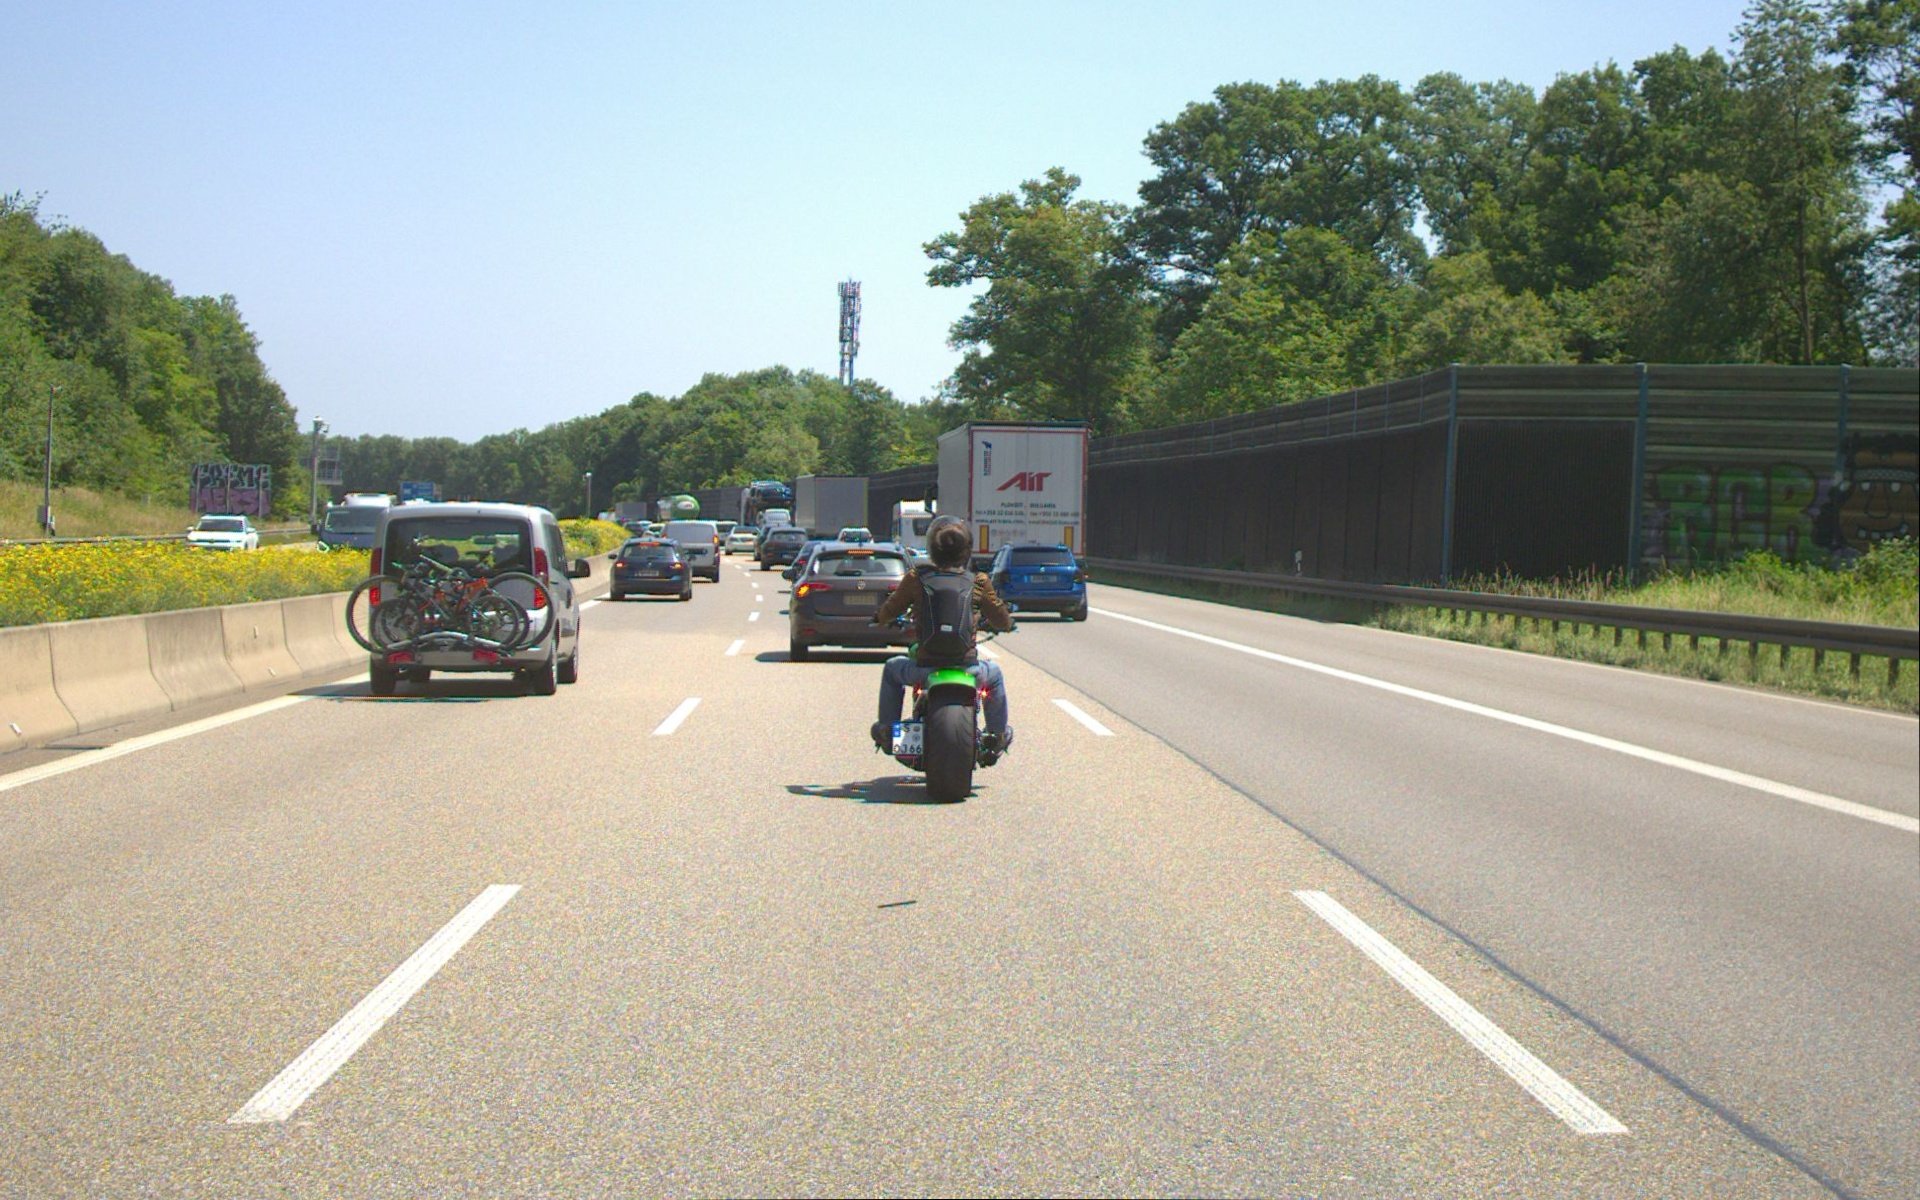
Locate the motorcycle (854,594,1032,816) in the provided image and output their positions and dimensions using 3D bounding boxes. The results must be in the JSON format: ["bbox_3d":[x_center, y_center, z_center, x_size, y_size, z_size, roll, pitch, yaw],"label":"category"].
[{"bbox_3d":[-0.069,0.580,20.447,0.964,1.144,2.812,1,1,1],"label":"motorcycle"}]

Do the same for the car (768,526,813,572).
[{"bbox_3d":[-7.543,-2.265,152.887,1.911,2.007,3.691,0,0,-4],"label":"car"}]

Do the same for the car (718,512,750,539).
[{"bbox_3d":[-12.935,-4.248,196.825,1.832,1.491,3.744,0,0,-4],"label":"car"}]

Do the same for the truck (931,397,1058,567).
[{"bbox_3d":[0.823,-2.962,87.158,2.885,4.132,5.987,0,1,-2],"label":"truck"}]

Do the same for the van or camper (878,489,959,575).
[{"bbox_3d":[-1.374,-2.279,117.333,2.685,2.803,6.803,0,0,0],"label":"van or camper"}]

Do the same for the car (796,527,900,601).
[{"bbox_3d":[-2.275,-0.713,68.887,1.993,1.425,3.848,0,0,-3],"label":"car"}]

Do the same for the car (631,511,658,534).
[{"bbox_3d":[-22.071,-5.415,240.259,1.832,1.491,3.744,0,0,-5],"label":"car"}]

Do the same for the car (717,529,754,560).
[{"bbox_3d":[-11.272,-2.798,172.840,1.832,1.491,3.744,0,0,-4],"label":"car"}]

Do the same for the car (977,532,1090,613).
[{"bbox_3d":[1.352,-0.518,64.918,1.650,1.477,4.482,0,0,-5],"label":"car"}]

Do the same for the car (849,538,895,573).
[{"bbox_3d":[-4.027,-2.007,156.735,1.993,1.568,4.000,0,0,-3],"label":"car"}]

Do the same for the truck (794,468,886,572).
[{"bbox_3d":[-5.986,-3.880,170.262,3.802,4.943,8.952,0,0,-7],"label":"truck"}]

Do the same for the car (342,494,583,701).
[{"bbox_3d":[-4.742,-0.034,33.307,1.899,1.867,4.413,0,0,-3],"label":"car"}]

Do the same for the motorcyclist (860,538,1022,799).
[{"bbox_3d":[-0.091,0.383,20.350,0.899,1.470,1.872,0,0,1],"label":"motorcyclist"}]

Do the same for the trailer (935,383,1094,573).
[{"bbox_3d":[1.122,-2.770,80.341,2.885,4.024,13.797,0,1,-2],"label":"trailer"}]

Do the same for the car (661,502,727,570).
[{"bbox_3d":[-8.081,-1.926,104.746,1.791,2.007,3.642,0,0,-1],"label":"car"}]

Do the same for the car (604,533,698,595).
[{"bbox_3d":[-7.091,-0.818,79.213,1.993,1.382,4.000,0,0,-3],"label":"car"}]

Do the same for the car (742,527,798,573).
[{"bbox_3d":[-7.033,-1.848,127.537,1.993,1.634,4.000,0,0,-2],"label":"car"}]

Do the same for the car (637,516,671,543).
[{"bbox_3d":[-17.370,-3.988,195.088,1.832,1.491,3.744,0,0,-4],"label":"car"}]

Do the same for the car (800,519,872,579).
[{"bbox_3d":[-3.237,-1.325,90.417,1.779,1.547,3.585,0,0,0],"label":"car"}]

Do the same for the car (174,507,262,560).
[{"bbox_3d":[-23.118,-2.086,107.255,1.993,1.611,4.484,0,1,-3],"label":"car"}]

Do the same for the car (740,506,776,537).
[{"bbox_3d":[-12.798,-4.974,217.978,2.107,1.870,4.001,0,0,-6],"label":"car"}]

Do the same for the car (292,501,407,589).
[{"bbox_3d":[-14.293,-1.265,80.735,1.993,2.007,4.421,0,0,-1],"label":"car"}]

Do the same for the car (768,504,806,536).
[{"bbox_3d":[-10.709,-4.945,212.771,2.107,1.870,4.001,0,0,-6],"label":"car"}]

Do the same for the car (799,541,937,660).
[{"bbox_3d":[-1.212,-0.002,43.966,1.662,1.448,3.869,0,0,-3],"label":"car"}]
